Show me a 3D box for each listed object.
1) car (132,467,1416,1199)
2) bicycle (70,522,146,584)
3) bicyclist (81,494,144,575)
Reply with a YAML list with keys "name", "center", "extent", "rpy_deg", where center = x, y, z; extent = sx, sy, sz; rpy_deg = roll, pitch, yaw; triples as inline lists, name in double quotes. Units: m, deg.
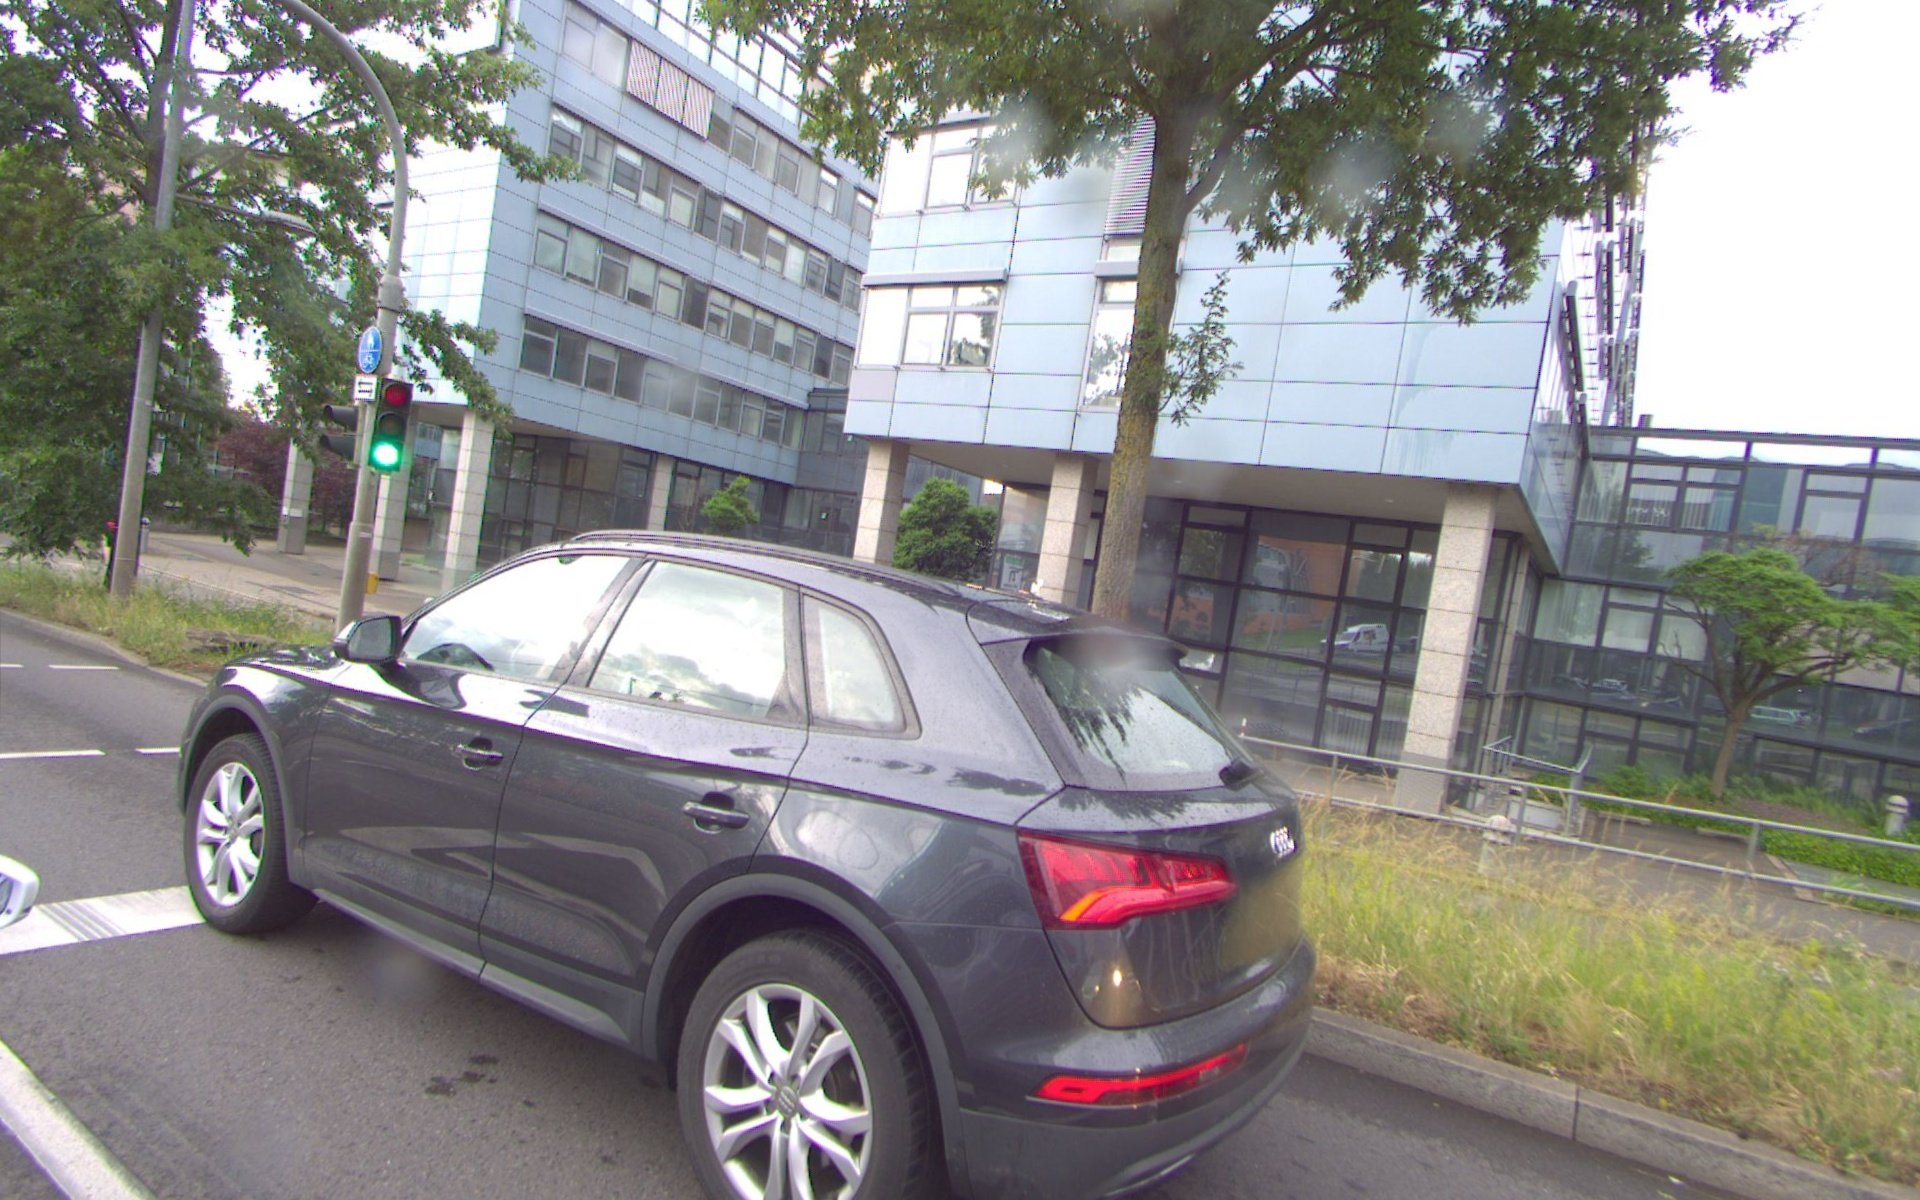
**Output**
- name: "car"
  center: [-0.921, 0.580, 3.683]
  extent: [4.396, 1.632, 1.821]
  rpy_deg: [7, -1, 32]
- name: "bicycle"
  center: [-18.330, -1.022, 21.633]
  extent: [1.874, 1.101, 0.581]
  rpy_deg: [7, -1, 32]
- name: "bicyclist"
  center: [-18.122, -1.402, 21.516]
  extent: [0.840, 1.597, 0.647]
  rpy_deg: [8, -1, 32]
